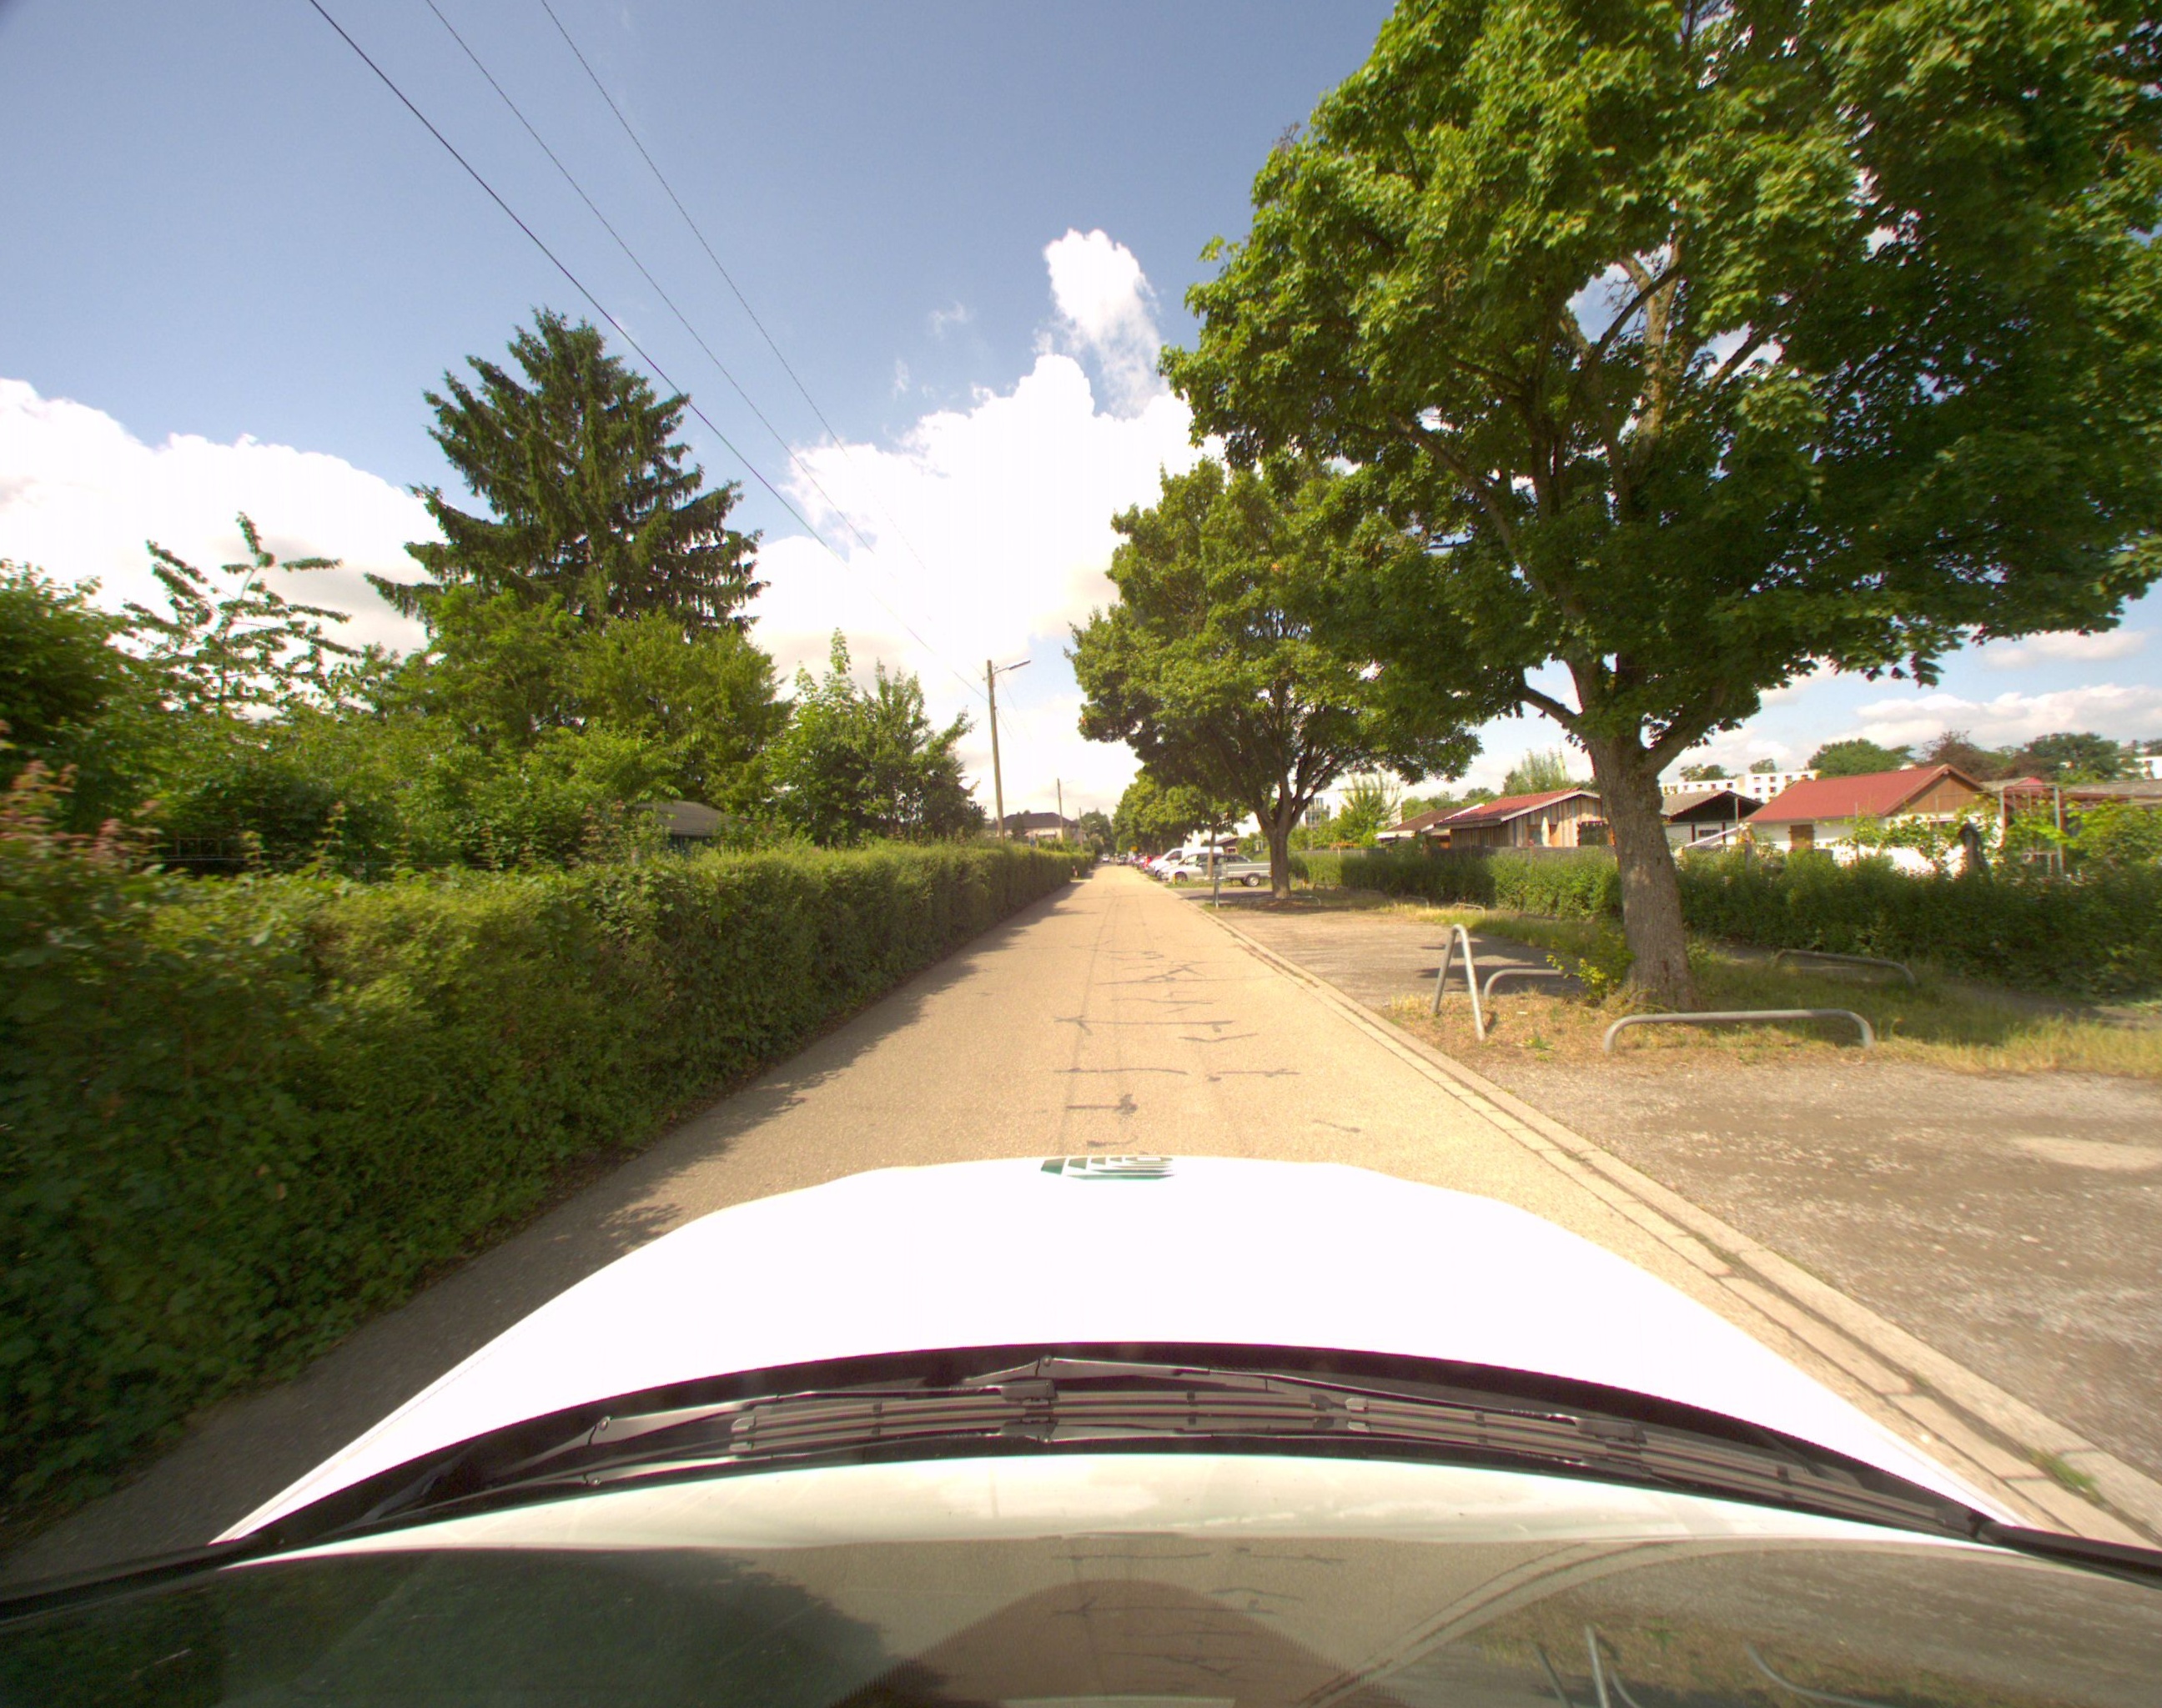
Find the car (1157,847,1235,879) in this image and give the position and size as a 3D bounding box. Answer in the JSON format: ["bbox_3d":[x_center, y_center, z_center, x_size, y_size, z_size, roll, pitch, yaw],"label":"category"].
[{"bbox_3d":[6.556,0.498,46.924,4.227,1.592,2.001,-3,0,2],"label":"car"}]

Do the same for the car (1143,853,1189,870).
[{"bbox_3d":[7.523,0.661,72.060,3.967,1.519,1.857,-1,-1,5],"label":"car"}]

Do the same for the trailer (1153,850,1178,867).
[{"bbox_3d":[8.964,0.488,86.516,2.443,1.720,1.517,-1,0,-2],"label":"trailer"}]

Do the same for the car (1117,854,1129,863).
[{"bbox_3d":[6.979,0.740,134.143,1.654,1.506,4.008,-1,-1,7],"label":"car"}]

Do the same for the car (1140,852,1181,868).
[{"bbox_3d":[8.036,0.604,82.344,4.045,1.511,1.960,-1,-1,5],"label":"car"}]

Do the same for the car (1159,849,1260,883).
[{"bbox_3d":[6.248,0.575,39.969,4.565,1.466,1.999,-2,0,-2],"label":"car"}]

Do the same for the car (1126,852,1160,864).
[{"bbox_3d":[8.294,0.568,109.263,4.533,1.578,1.809,-1,-1,0],"label":"car"}]

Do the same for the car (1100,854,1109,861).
[{"bbox_3d":[5.935,0.816,202.735,1.894,1.814,4.005,-1,-1,5],"label":"car"}]

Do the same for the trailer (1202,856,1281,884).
[{"bbox_3d":[6.874,0.697,35.212,3.088,1.142,2.001,-1,-1,2],"label":"trailer"}]

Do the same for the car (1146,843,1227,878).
[{"bbox_3d":[6.391,0.390,49.677,4.619,1.886,2.111,-3,0,0],"label":"car"}]
